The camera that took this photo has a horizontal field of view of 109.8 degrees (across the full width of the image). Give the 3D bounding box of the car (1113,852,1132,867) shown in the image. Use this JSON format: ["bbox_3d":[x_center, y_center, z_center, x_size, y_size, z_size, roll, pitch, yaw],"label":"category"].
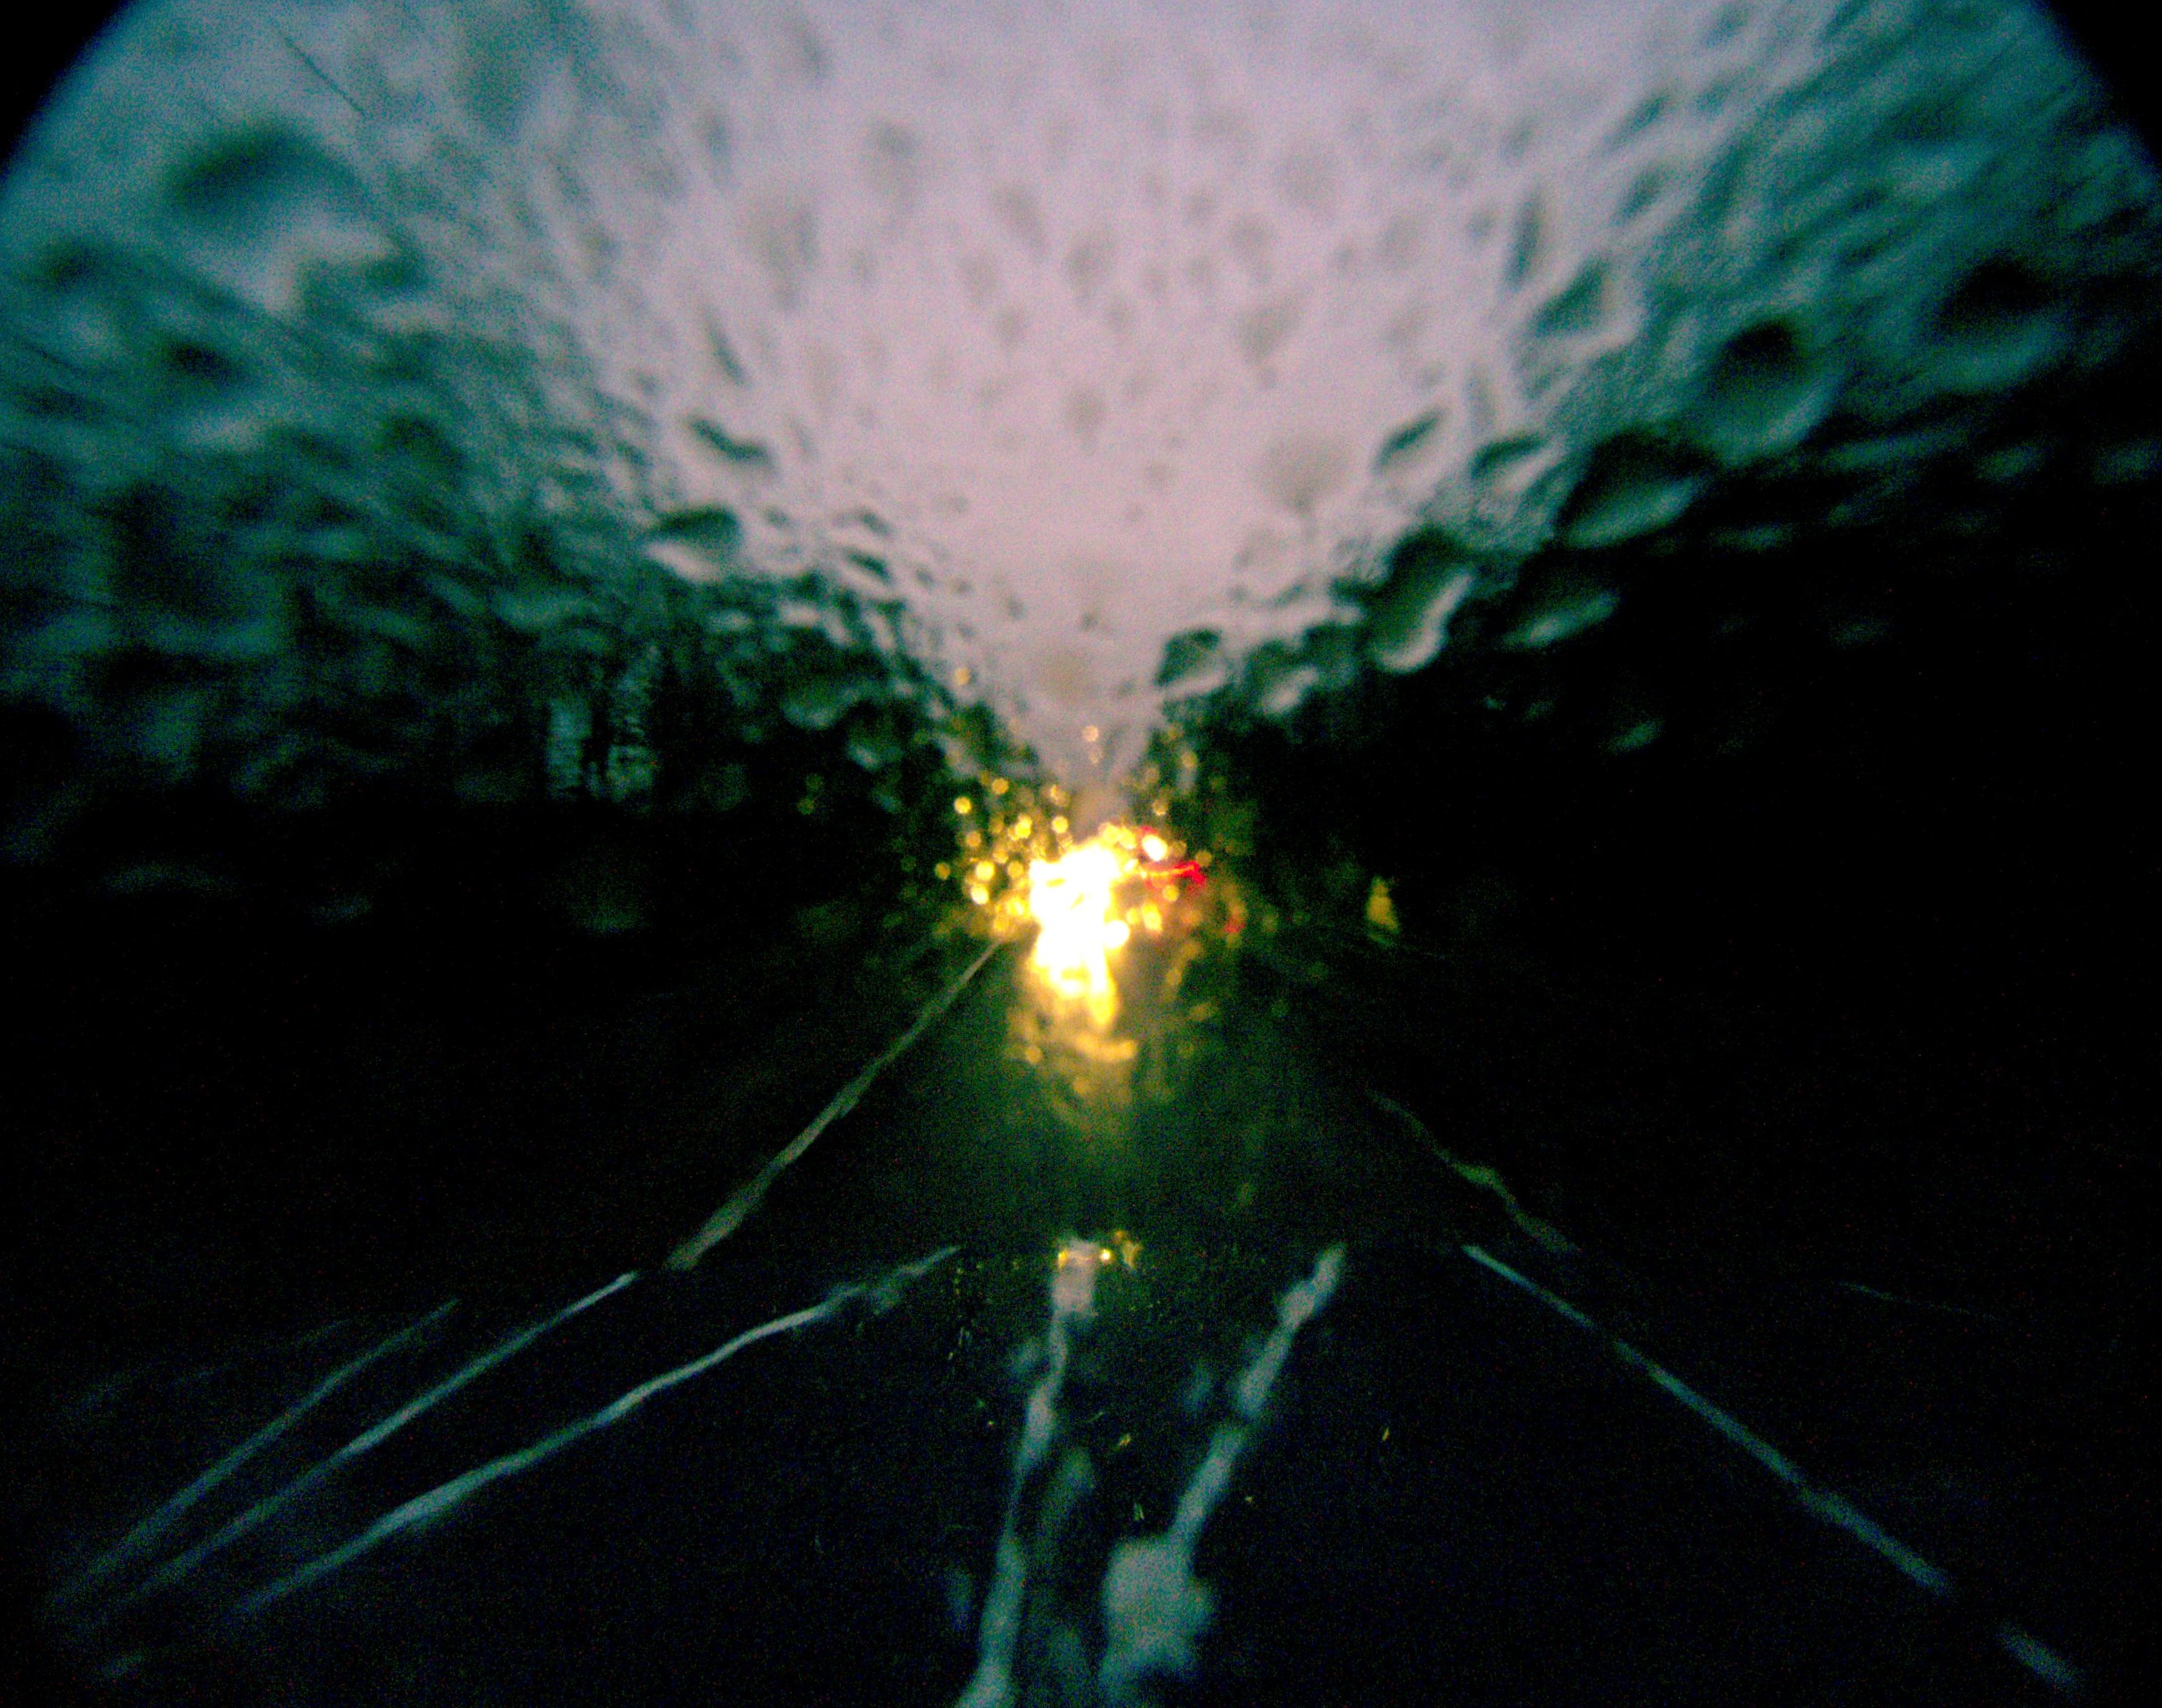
[{"bbox_3d":[4.225,0.533,78.569,1.803,1.453,4.176,0,0,1],"label":"car"}]

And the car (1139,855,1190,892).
[{"bbox_3d":[3.605,0.782,33.336,1.769,1.449,4.507,-1,1,1],"label":"car"}]

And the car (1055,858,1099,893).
[{"bbox_3d":[-0.108,0.927,34.226,1.845,1.390,4.000,-1,0,1],"label":"car"}]

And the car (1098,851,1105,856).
[{"bbox_3d":[6.455,-0.040,243.434,1.708,1.355,4.375,-6,-1,-4],"label":"car"}]
